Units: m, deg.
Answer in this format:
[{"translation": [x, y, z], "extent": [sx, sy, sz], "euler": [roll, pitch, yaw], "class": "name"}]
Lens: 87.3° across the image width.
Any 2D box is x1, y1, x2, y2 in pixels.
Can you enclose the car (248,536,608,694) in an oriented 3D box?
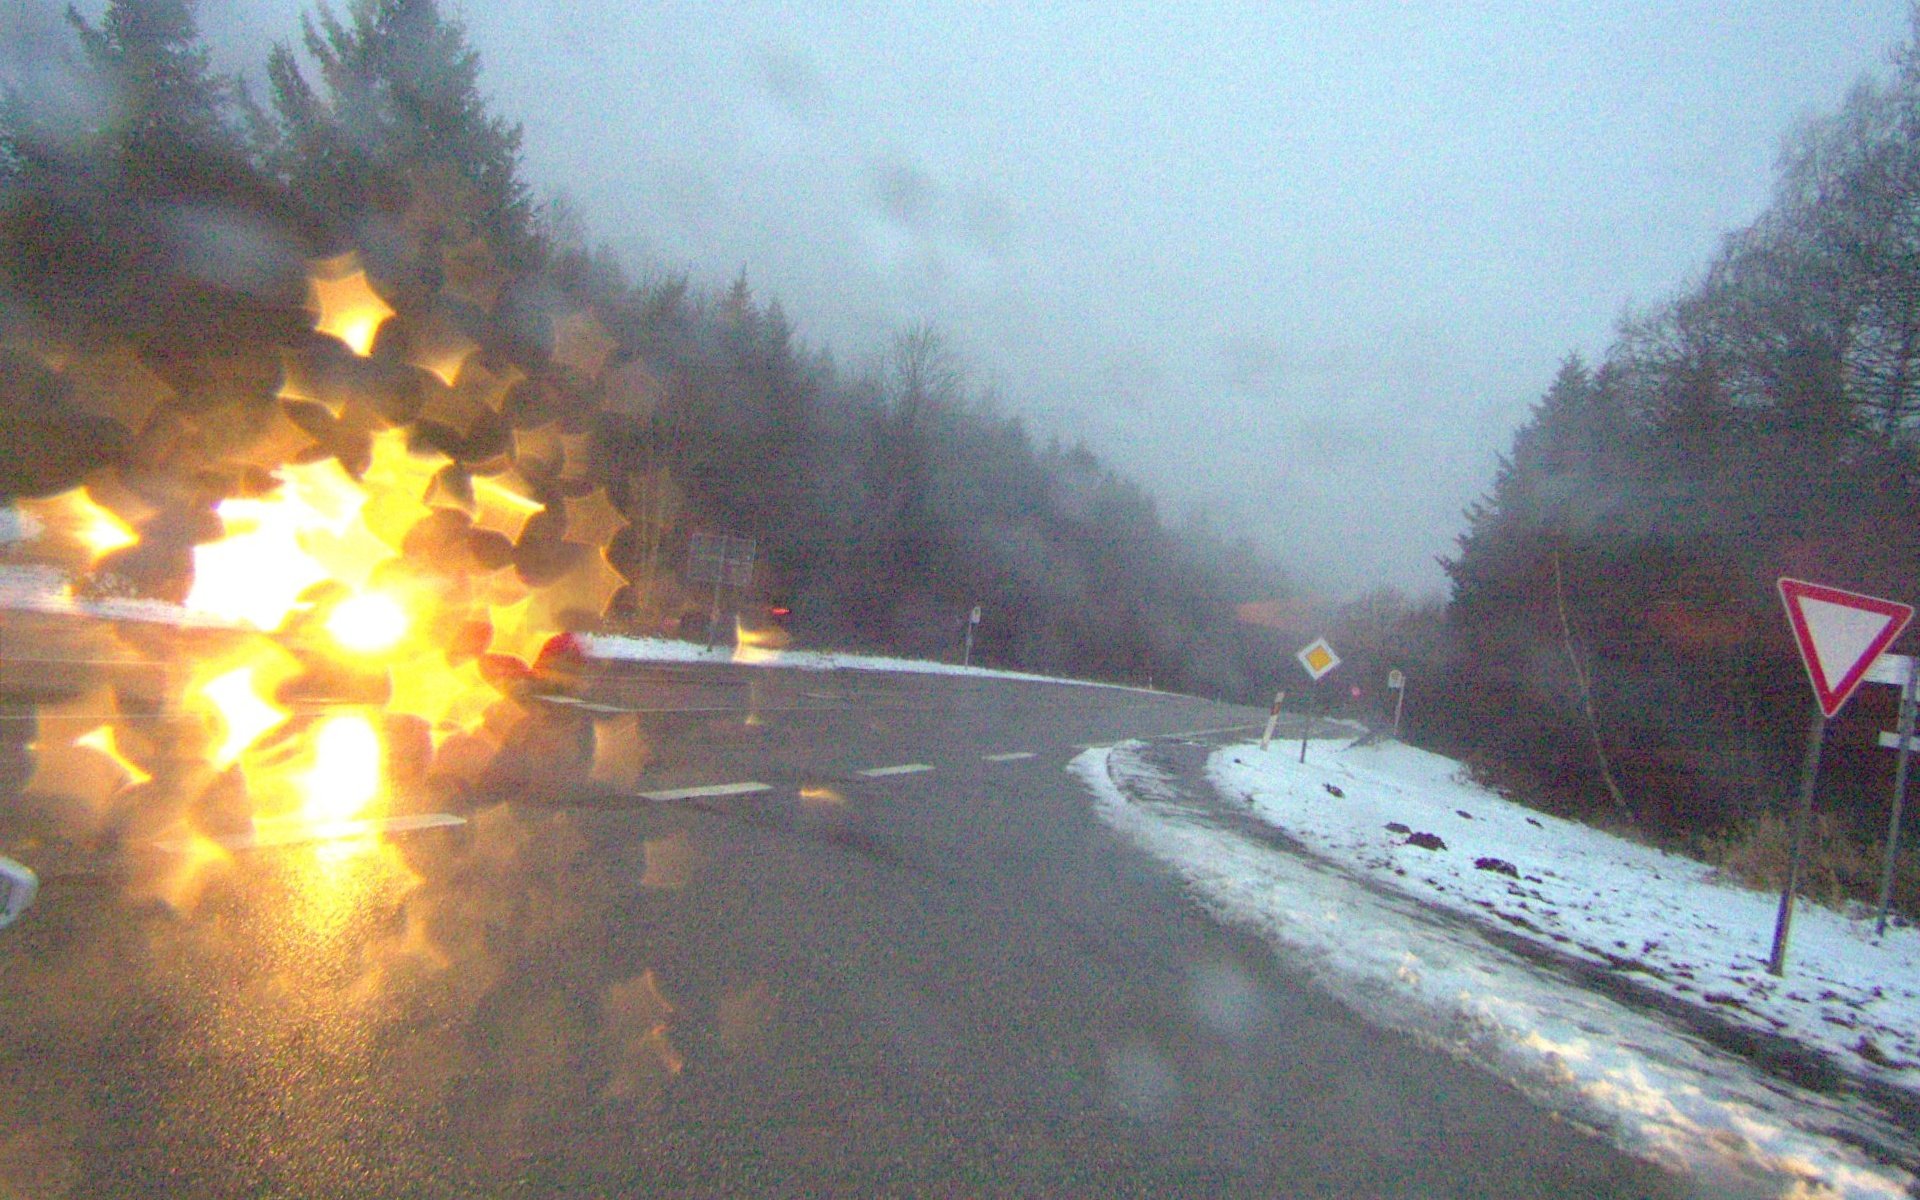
[{"translation": [-6.176, 0.267, 12.054], "extent": [1.550, 1.469, 3.410], "euler": [6, -2, 29], "class": "car"}]
